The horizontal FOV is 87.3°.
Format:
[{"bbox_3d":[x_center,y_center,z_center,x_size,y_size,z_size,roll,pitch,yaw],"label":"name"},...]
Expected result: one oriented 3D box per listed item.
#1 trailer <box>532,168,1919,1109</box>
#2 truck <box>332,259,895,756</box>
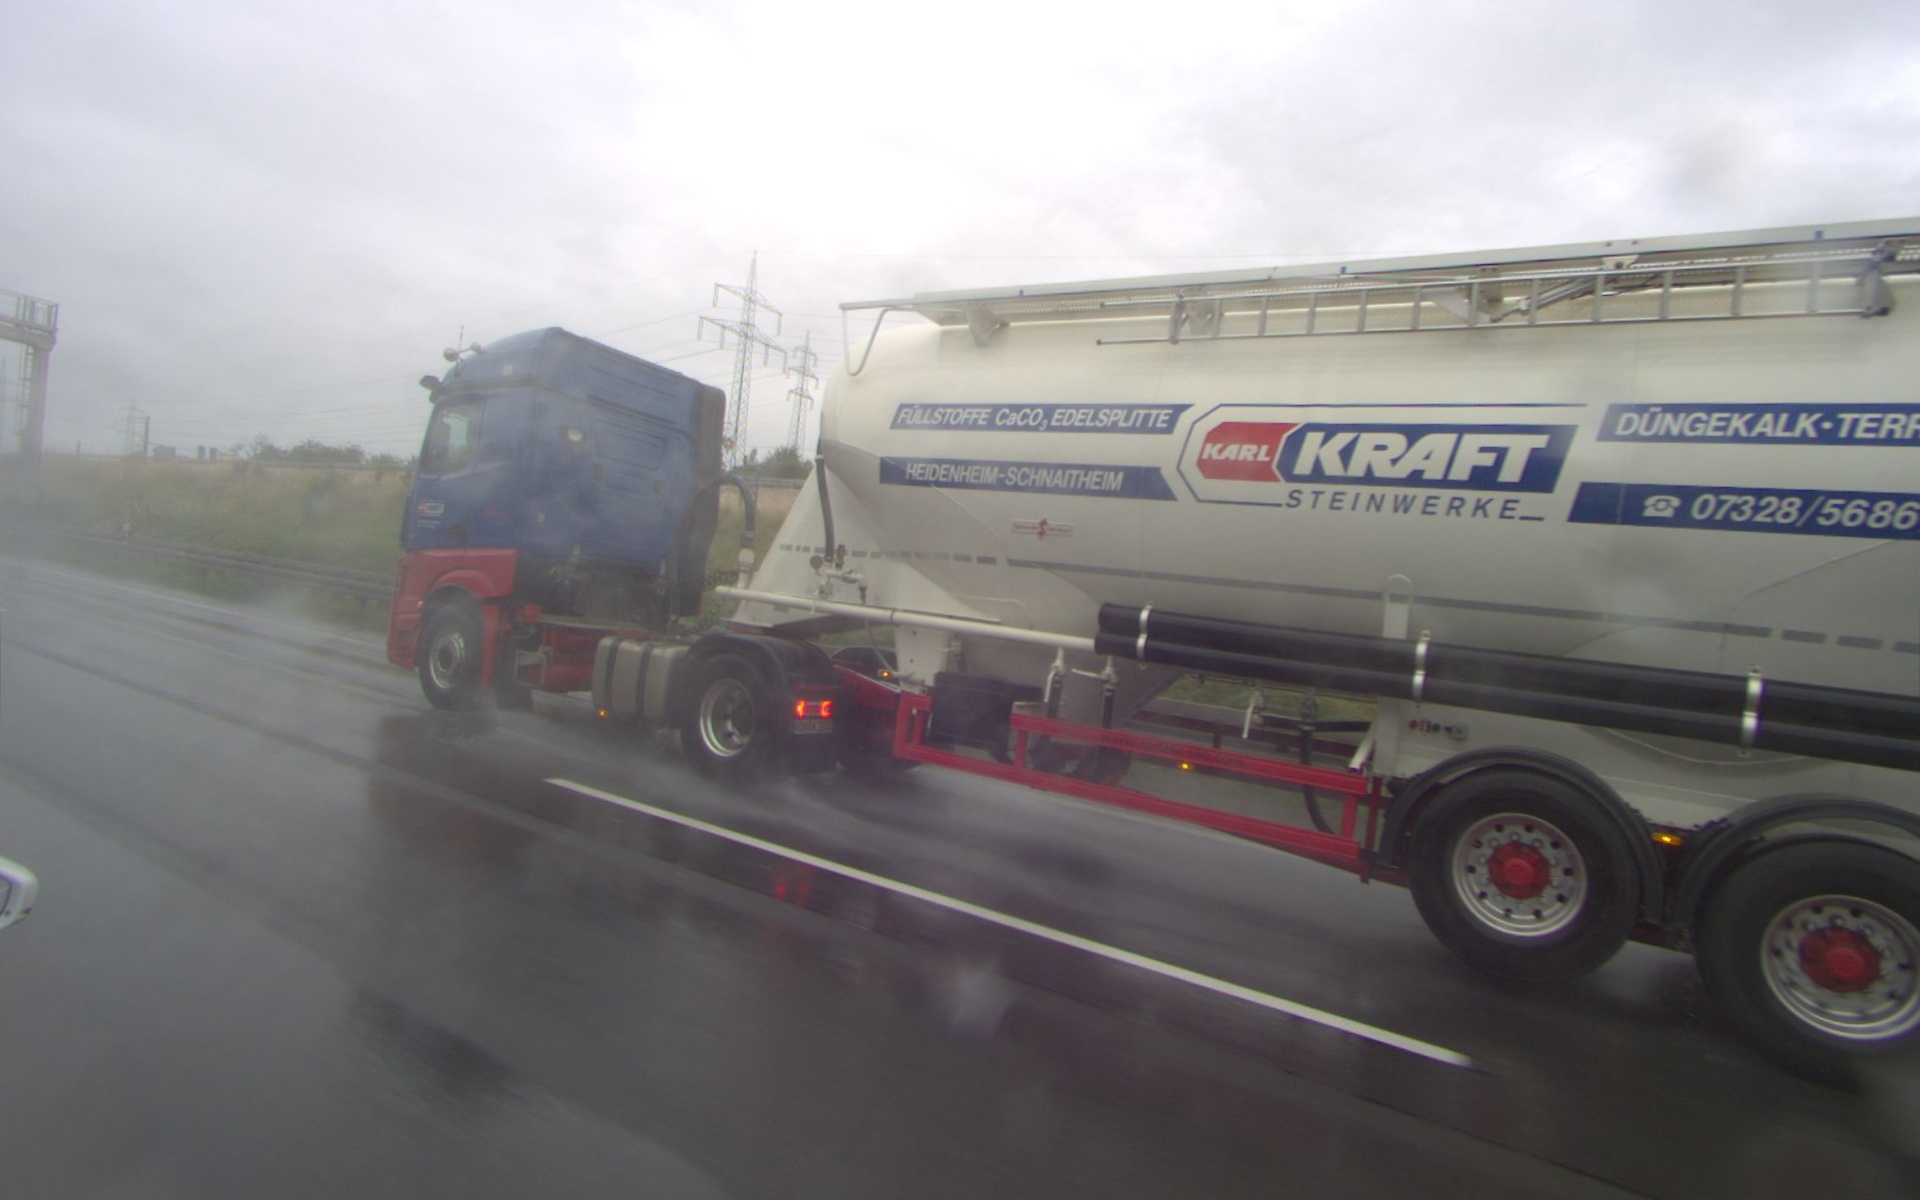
[{"bbox_3d":[1.713,-0.154,7.110,10.881,3.928,2.501,8,-1,31],"label":"trailer"},{"bbox_3d":[-3.672,-0.904,10.475,4.991,4.031,2.501,8,0,31],"label":"truck"}]
